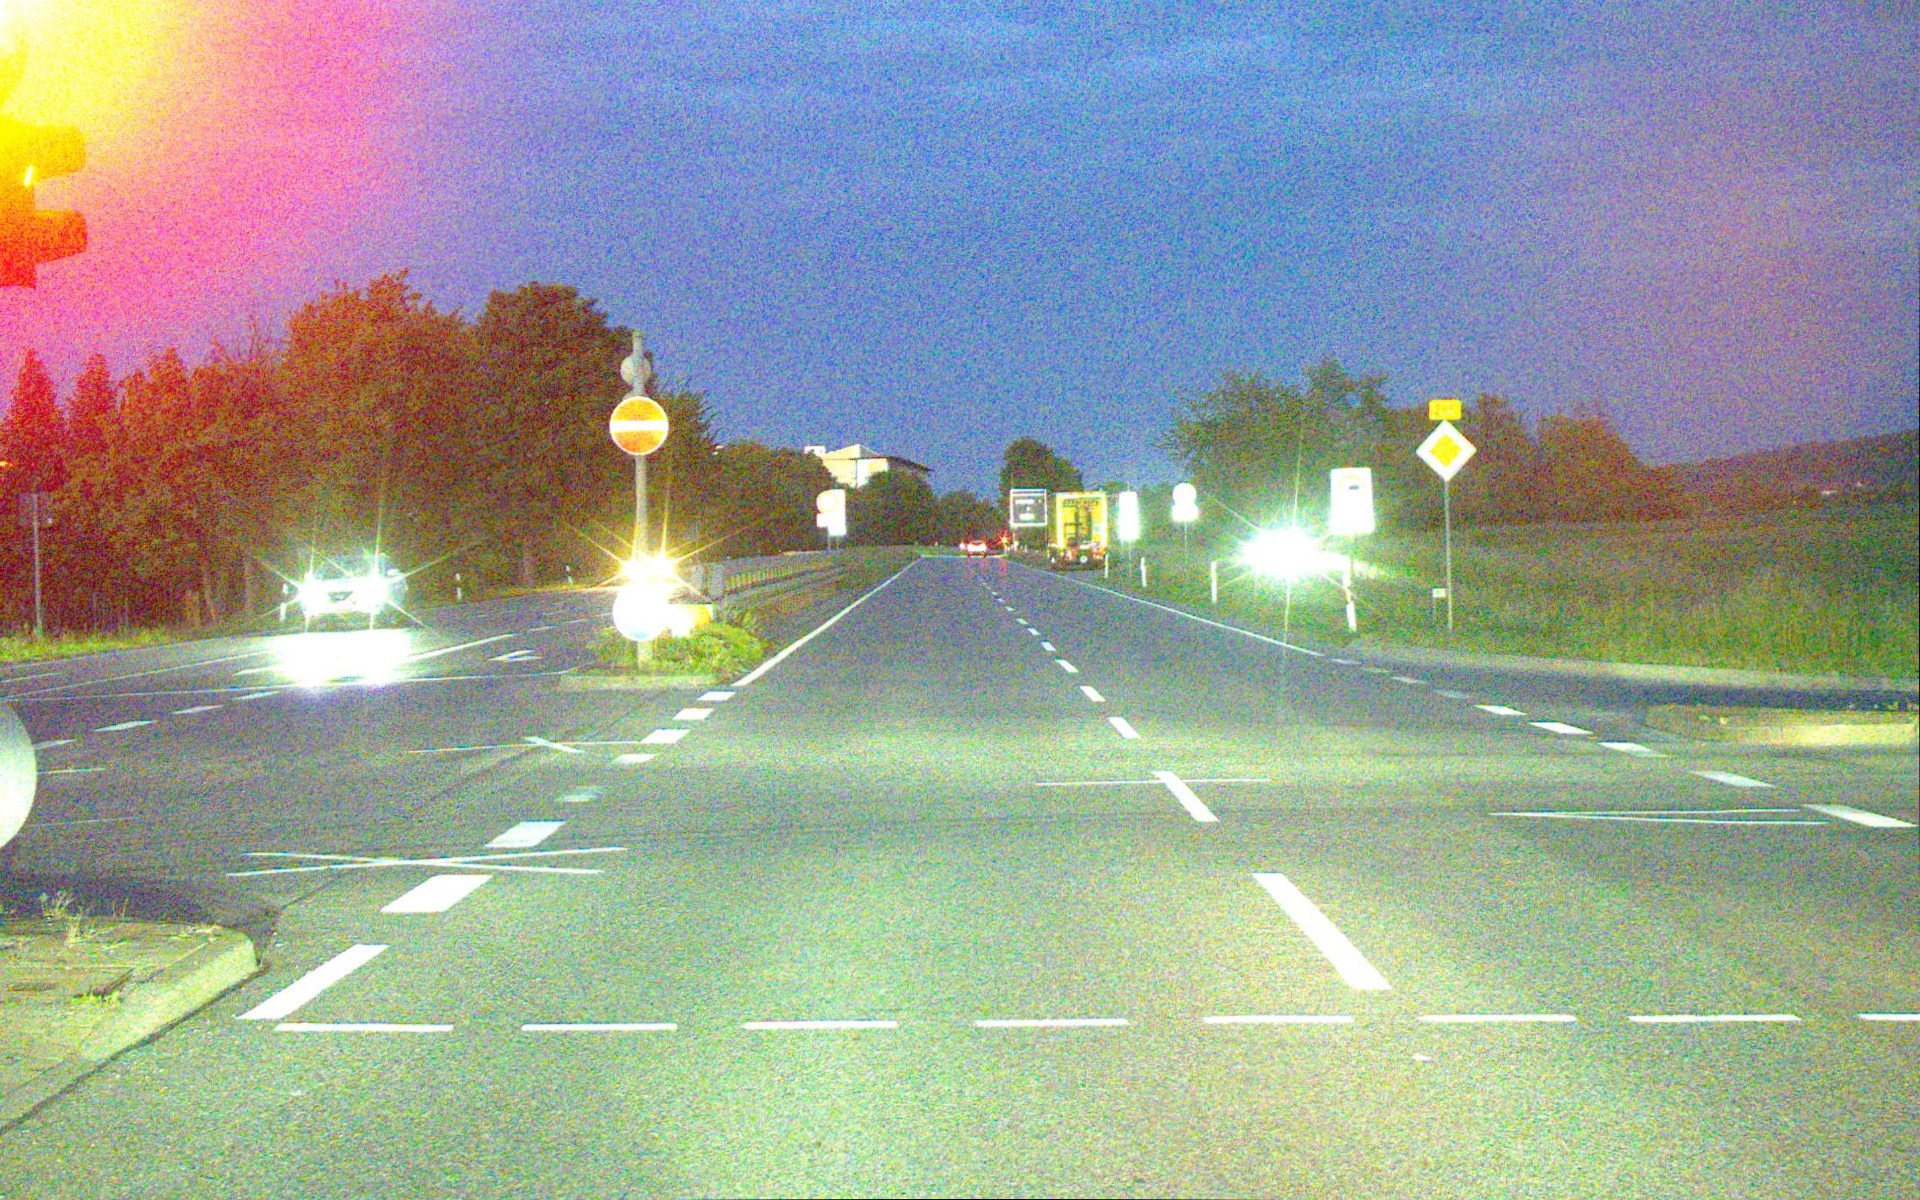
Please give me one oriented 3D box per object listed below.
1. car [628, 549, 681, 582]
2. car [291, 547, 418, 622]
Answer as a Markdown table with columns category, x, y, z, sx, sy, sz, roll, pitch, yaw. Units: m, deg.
| category | x | y | z | sx | sy | sz | roll | pitch | yaw |
| --- | --- | --- | --- | --- | --- | --- | --- | --- | --- |
| car | -13.477 | -1.526 | 151.895 | 1.993 | 1.382 | 4.000 | -1 | 1 | -1 |
| car | -13.034 | -0.350 | 74.243 | 1.993 | 1.514 | 4.298 | -1 | 1 | -1 |
